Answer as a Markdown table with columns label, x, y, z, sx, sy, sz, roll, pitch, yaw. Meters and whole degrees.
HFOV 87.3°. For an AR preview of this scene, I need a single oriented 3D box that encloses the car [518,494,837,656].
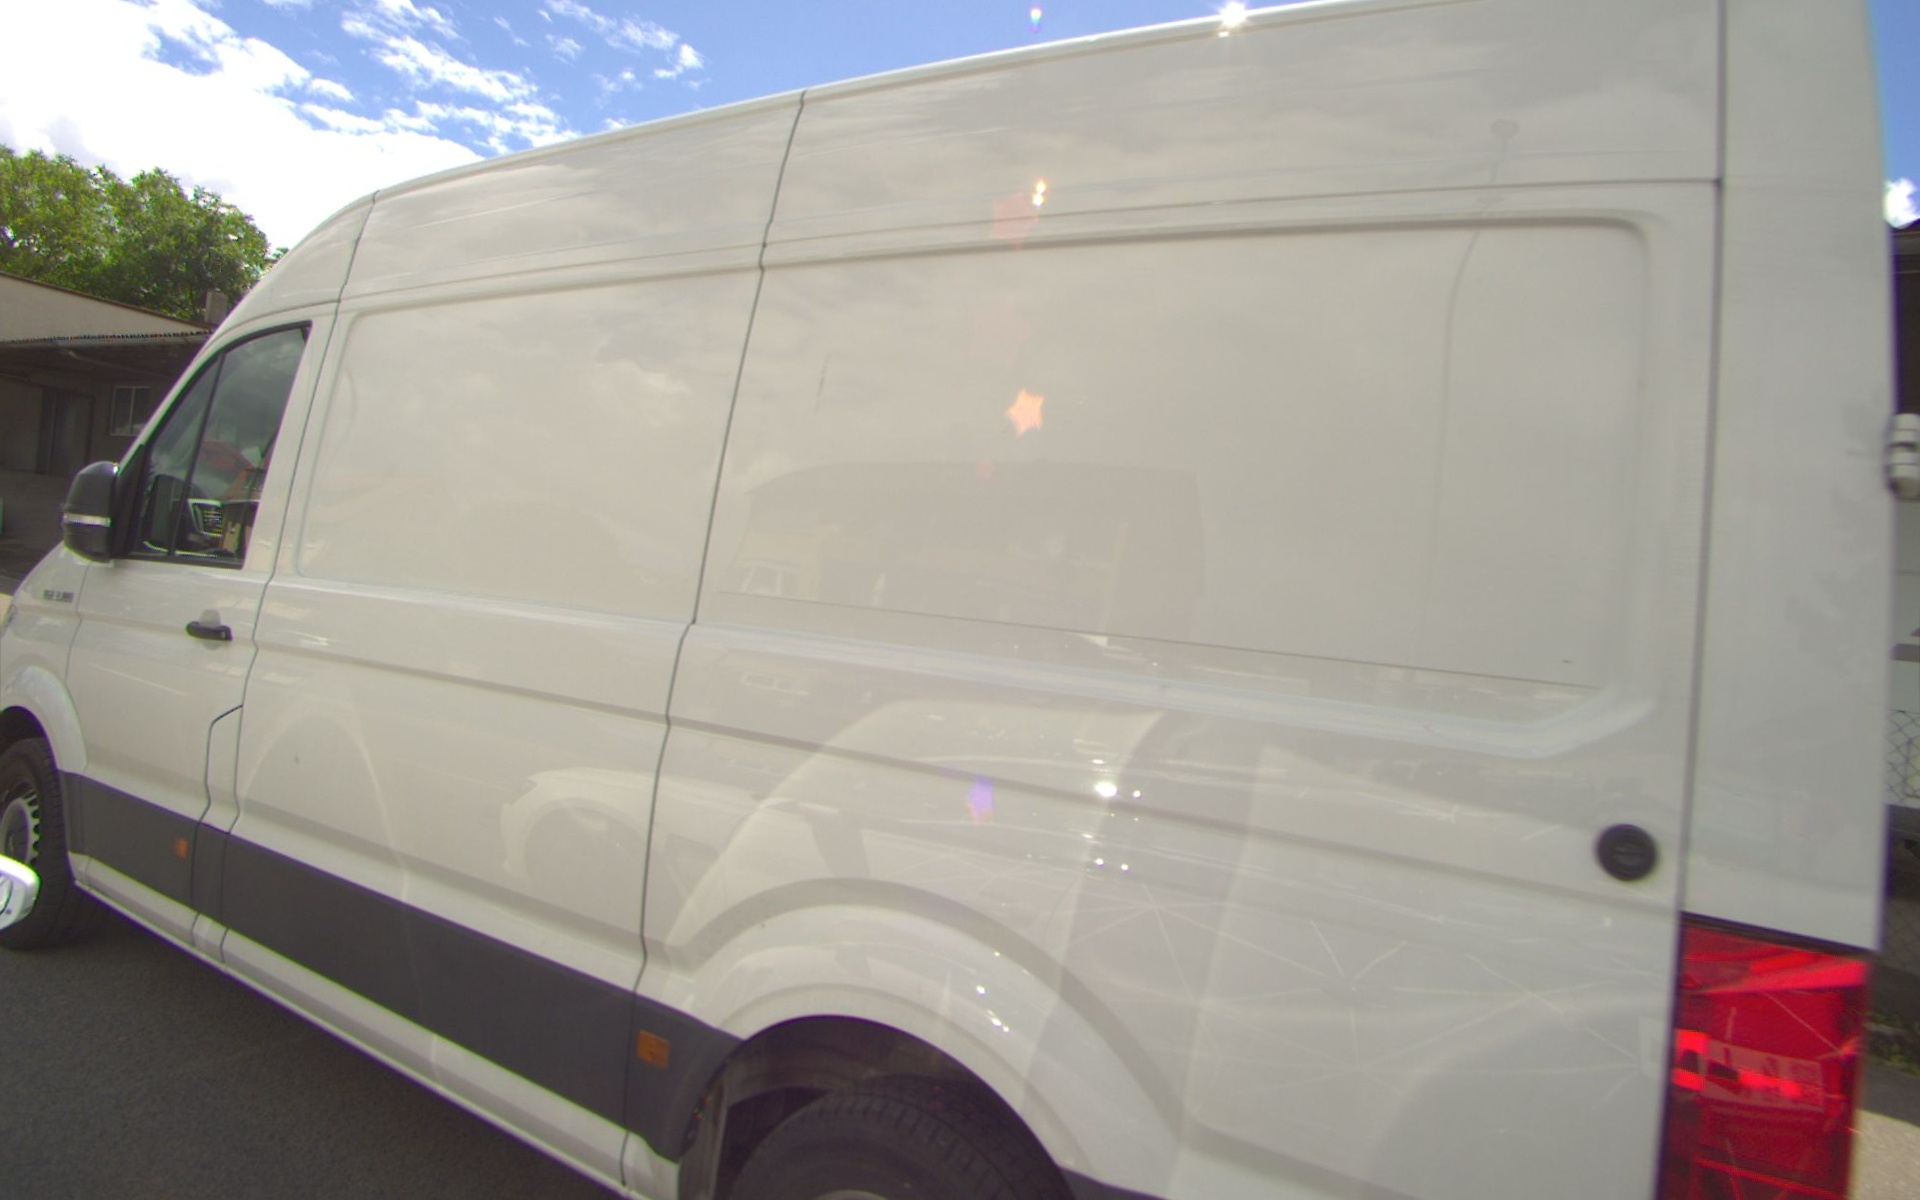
| label | x | y | z | sx | sy | sz | roll | pitch | yaw |
| --- | --- | --- | --- | --- | --- | --- | --- | --- | --- |
| car | -4.535 | -0.431 | 15.921 | 4.772 | 1.934 | 1.996 | 8 | 1 | 31 |

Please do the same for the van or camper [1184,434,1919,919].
| label | x | y | z | sx | sy | sz | roll | pitch | yaw |
| --- | --- | --- | --- | --- | --- | --- | --- | --- | --- |
| van or camper | 5.815 | 0.482 | 8.614 | 6.796 | 3.099 | 2.885 | 7 | 1 | 30 |

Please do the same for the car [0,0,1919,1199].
| label | x | y | z | sx | sy | sz | roll | pitch | yaw |
| --- | --- | --- | --- | --- | --- | --- | --- | --- | --- |
| car | -1.135 | -0.074 | 3.347 | 6.545 | 2.724 | 2.217 | 7 | 1 | 30 |

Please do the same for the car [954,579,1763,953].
| label | x | y | z | sx | sy | sz | roll | pitch | yaw |
| --- | --- | --- | --- | --- | --- | --- | --- | --- | --- |
| car | 2.543 | 0.915 | 7.345 | 4.844 | 1.508 | 1.766 | 8 | 1 | 31 |
